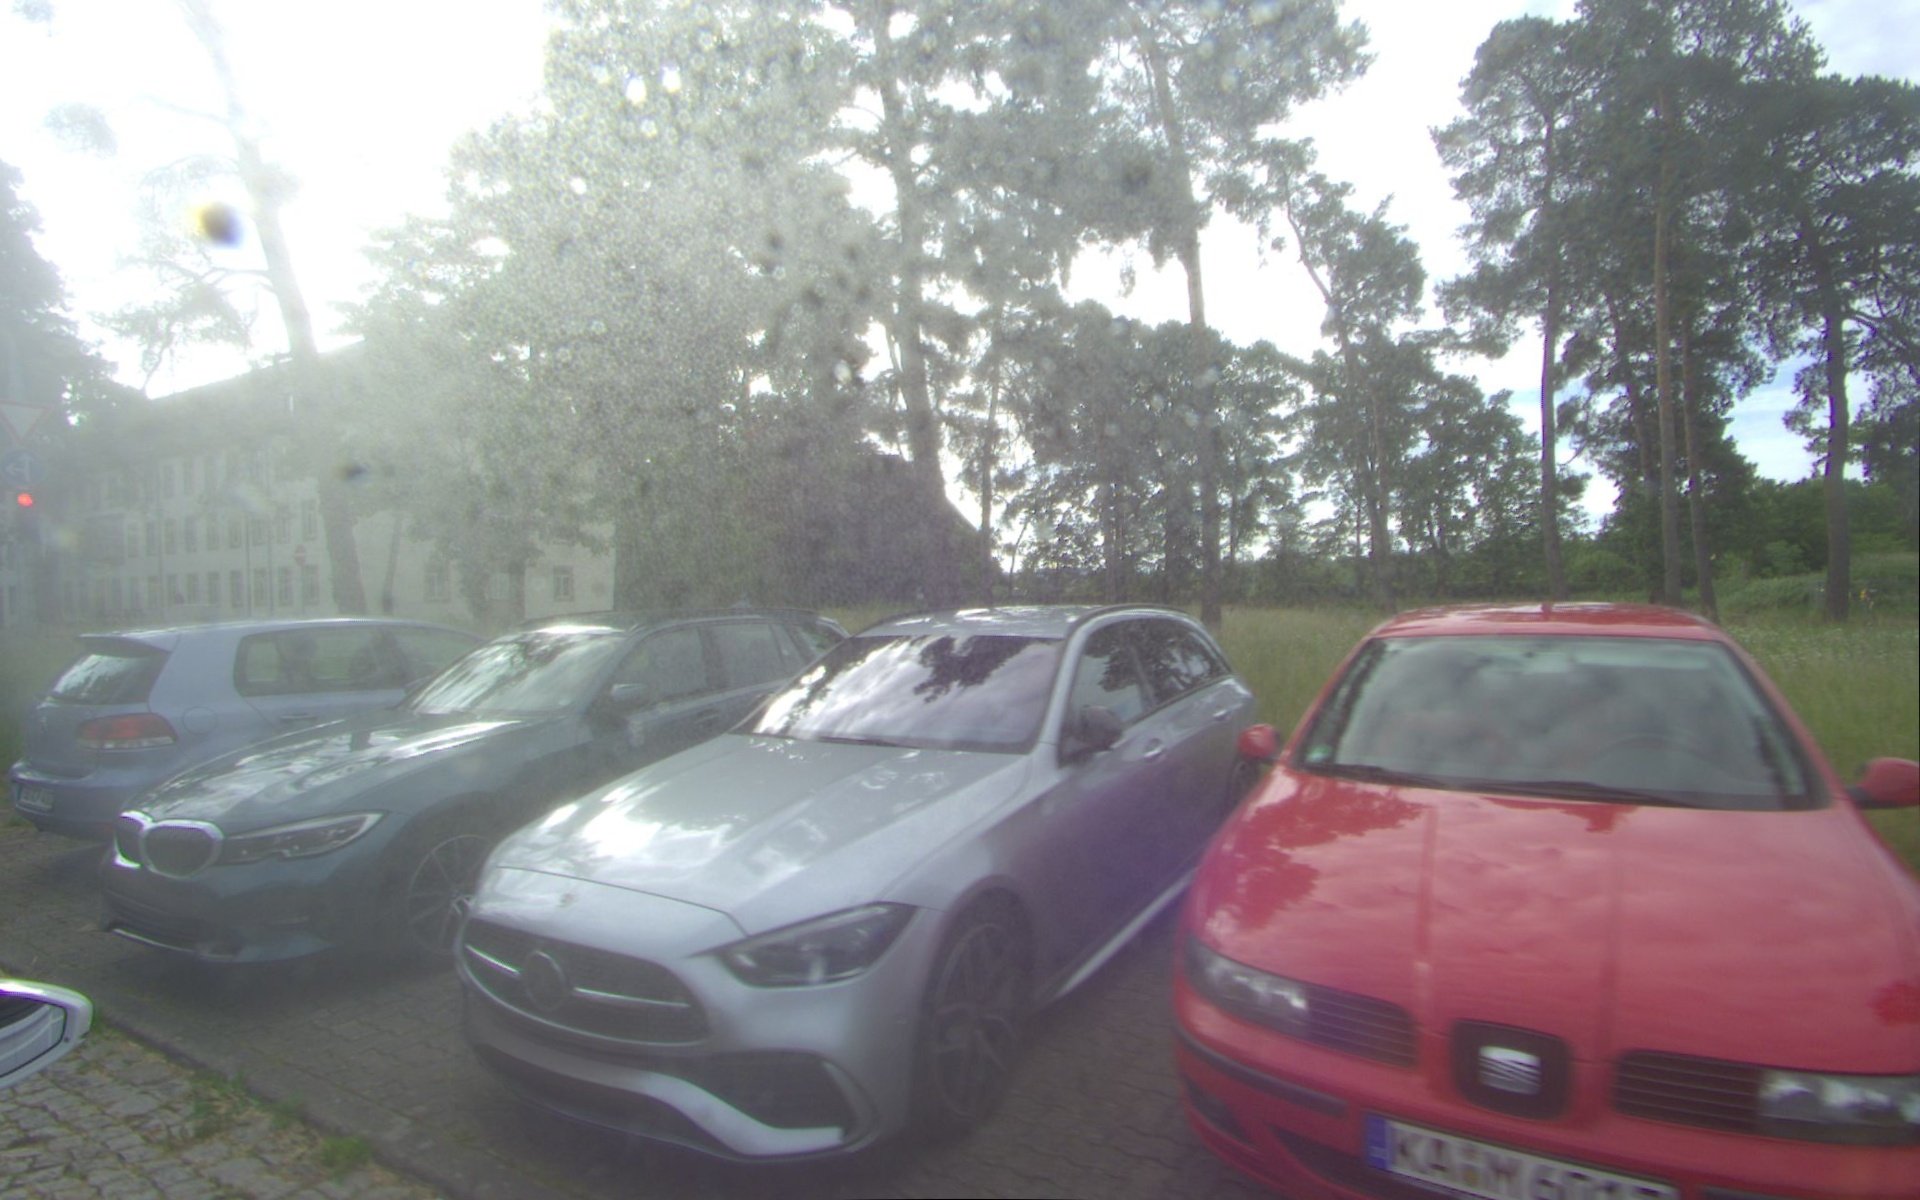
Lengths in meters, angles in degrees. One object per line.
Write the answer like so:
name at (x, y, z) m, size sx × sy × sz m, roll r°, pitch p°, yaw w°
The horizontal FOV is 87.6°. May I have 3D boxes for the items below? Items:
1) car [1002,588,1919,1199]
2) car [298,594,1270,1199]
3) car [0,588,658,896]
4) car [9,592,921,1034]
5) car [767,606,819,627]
car at (1.985, 0.749, 3.591) m, size 1.844 × 1.436 × 4.252 m, roll -1°, pitch 2°, yaw 31°
car at (-0.036, 0.778, 4.403) m, size 1.842 × 1.436 × 4.415 m, roll -1°, pitch 2°, yaw 28°
car at (-4.314, 0.732, 7.278) m, size 1.619 × 1.497 × 3.916 m, roll -1°, pitch 2°, yaw 33°
car at (-2.246, 0.753, 6.030) m, size 1.843 × 1.436 × 4.673 m, roll -1°, pitch 2°, yaw 29°
car at (-12.405, 1.274, 74.605) m, size 1.628 × 1.439 × 3.940 m, roll -1°, pitch -3°, yaw 34°
